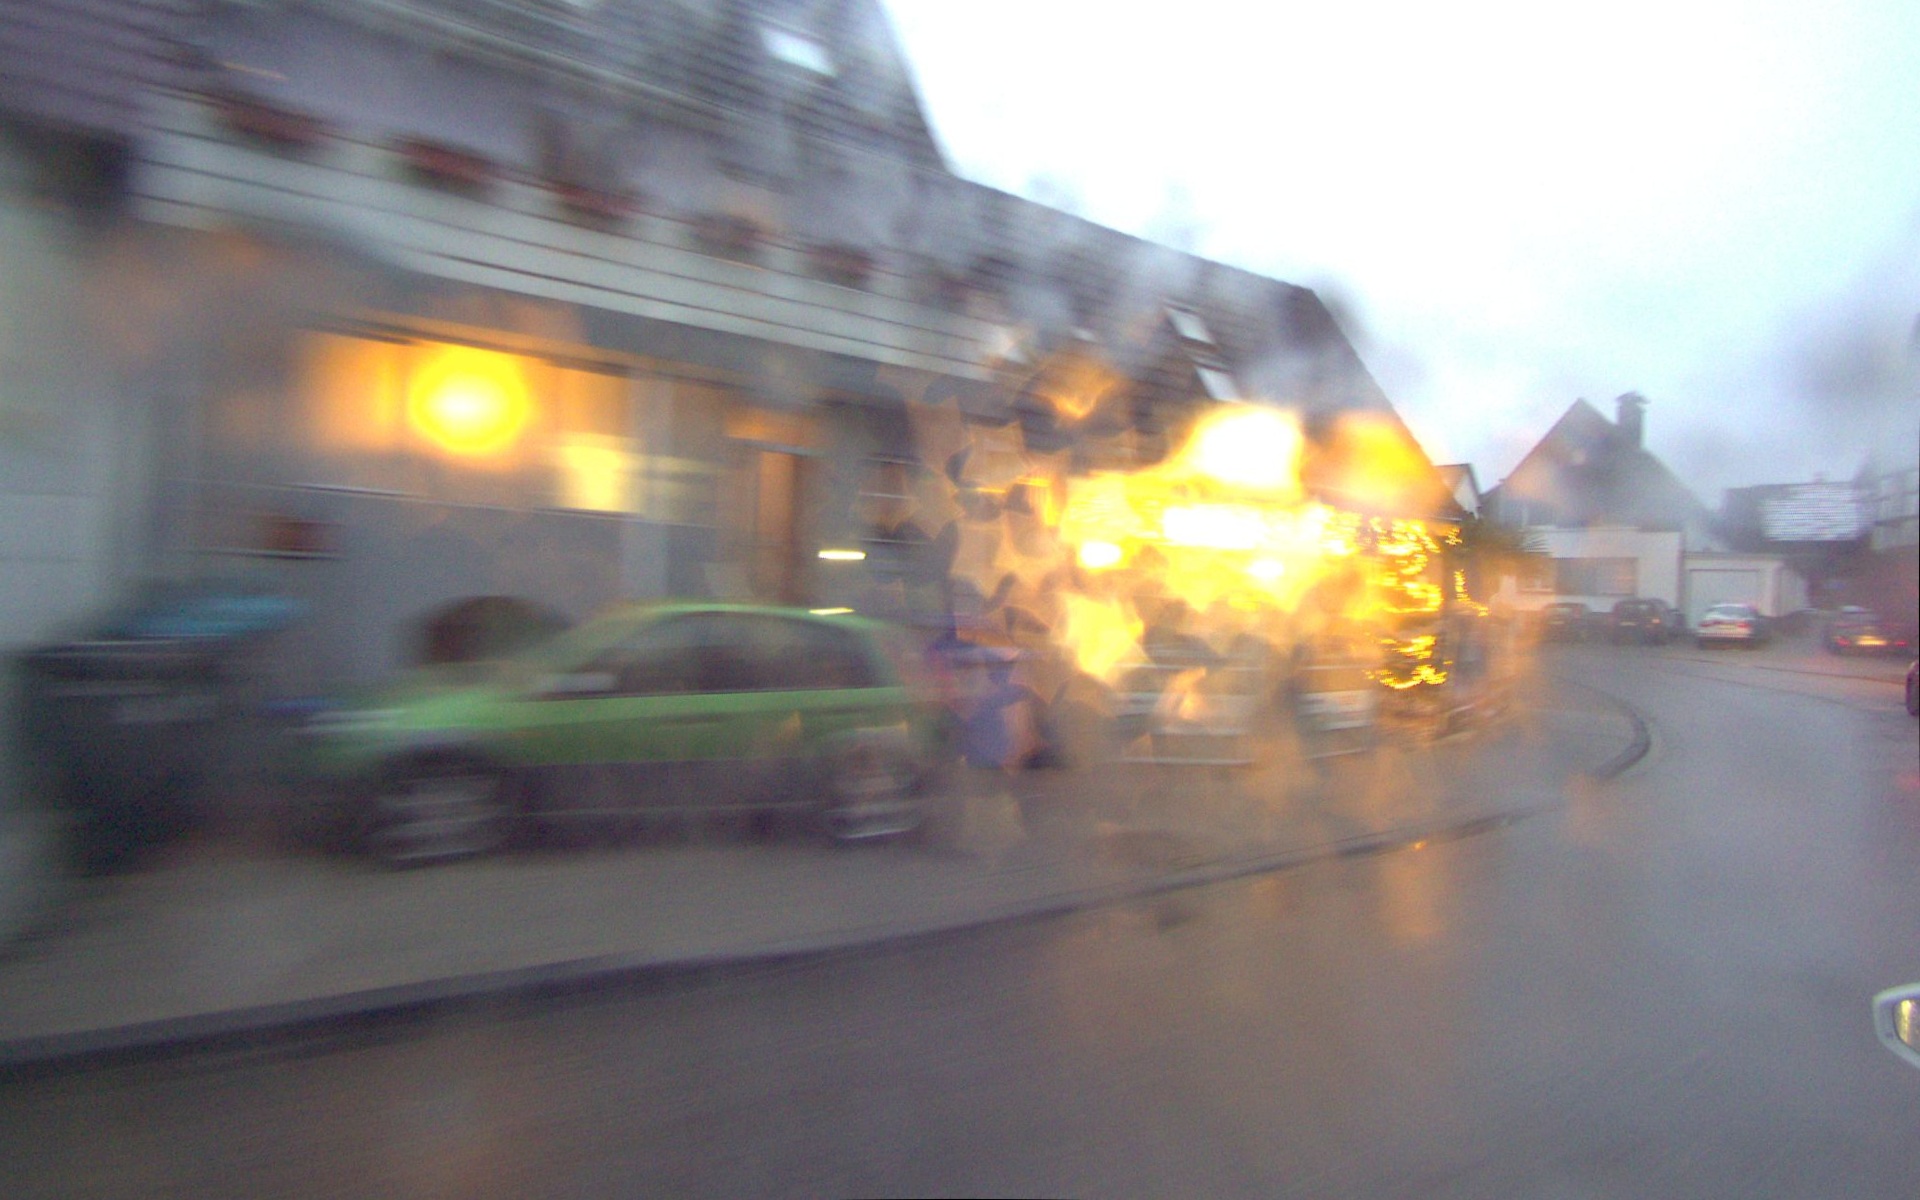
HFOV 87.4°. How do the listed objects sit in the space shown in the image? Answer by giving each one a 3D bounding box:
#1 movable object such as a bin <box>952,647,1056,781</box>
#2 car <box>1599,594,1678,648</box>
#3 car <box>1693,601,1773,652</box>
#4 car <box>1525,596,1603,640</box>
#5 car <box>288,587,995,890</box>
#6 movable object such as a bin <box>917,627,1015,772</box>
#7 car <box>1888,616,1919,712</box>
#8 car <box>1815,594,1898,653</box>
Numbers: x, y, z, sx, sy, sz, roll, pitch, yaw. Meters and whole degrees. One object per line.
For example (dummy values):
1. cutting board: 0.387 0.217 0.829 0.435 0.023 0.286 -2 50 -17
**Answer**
1. movable object such as a bin: 0.391 1.001 9.072 0.723 1.117 0.606 1 -1 -33
2. car: 25.610 0.737 37.842 1.829 1.683 4.450 -1 2 42
3. car: 27.065 0.899 35.124 1.790 1.440 4.013 -1 2 44
4. car: 24.107 0.686 40.057 1.863 1.469 3.869 -1 2 44
5. car: -1.833 0.733 6.360 3.752 1.440 1.614 3 0 -25
6. movable object such as a bin: 0.054 0.917 9.614 0.723 1.314 0.606 1 -1 -33
7. car: 15.509 1.023 15.026 1.523 1.485 3.692 3 1 30
8. car: 28.306 0.708 31.808 1.572 1.536 3.968 -2 2 37
